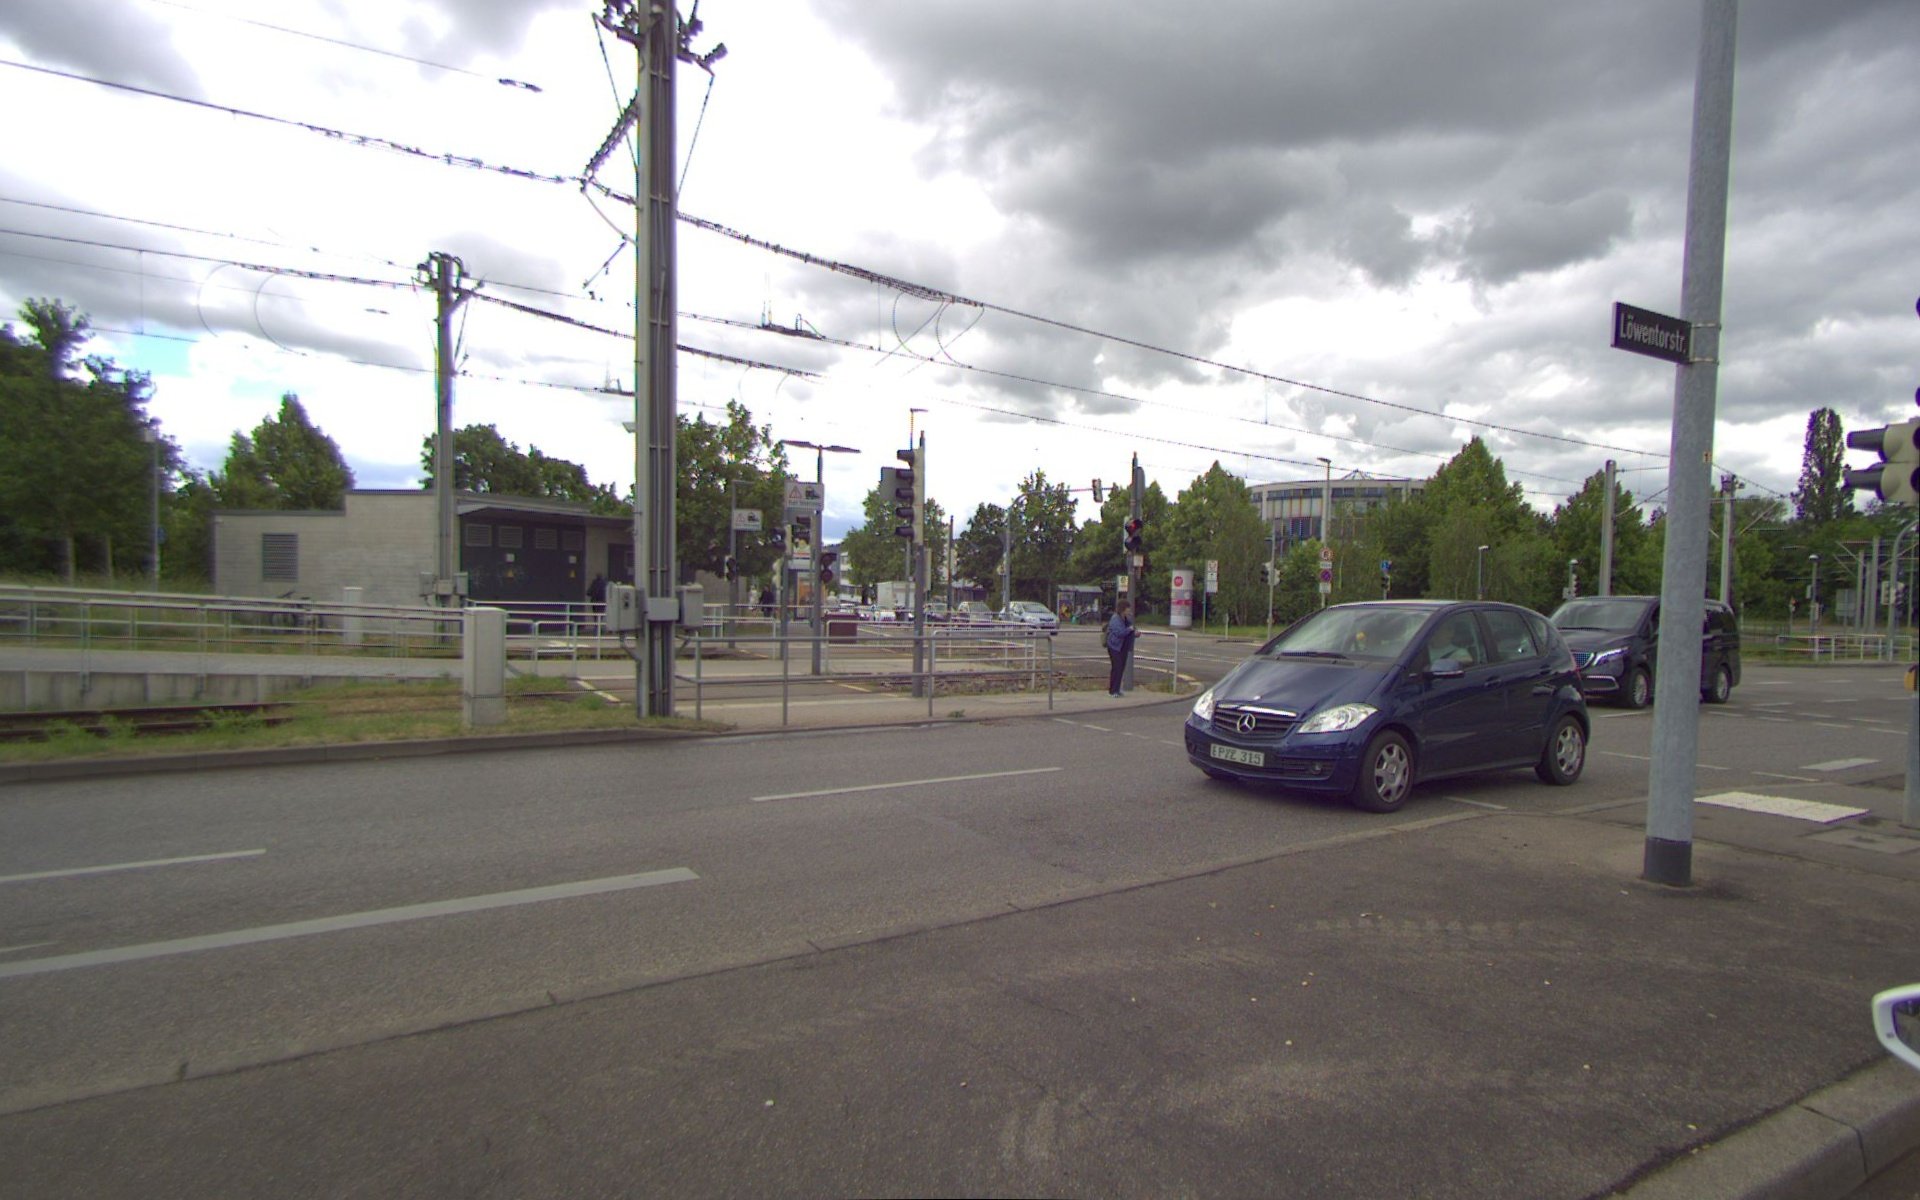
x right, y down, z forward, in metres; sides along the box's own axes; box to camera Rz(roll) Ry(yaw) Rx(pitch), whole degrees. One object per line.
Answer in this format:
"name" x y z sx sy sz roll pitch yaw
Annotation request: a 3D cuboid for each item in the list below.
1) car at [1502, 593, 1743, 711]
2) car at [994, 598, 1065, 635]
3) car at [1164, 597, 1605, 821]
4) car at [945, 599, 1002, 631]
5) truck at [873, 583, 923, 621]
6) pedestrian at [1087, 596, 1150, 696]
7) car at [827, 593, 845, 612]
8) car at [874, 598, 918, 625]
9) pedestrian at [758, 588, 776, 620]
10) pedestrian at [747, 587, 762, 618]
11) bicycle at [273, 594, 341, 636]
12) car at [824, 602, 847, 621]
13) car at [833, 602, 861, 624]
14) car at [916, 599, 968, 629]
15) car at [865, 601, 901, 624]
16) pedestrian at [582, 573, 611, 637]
"car" 11.883 0.858 17.886 5.041 1.836 1.875 1 -1 -35
"car" 3.195 0.732 46.895 1.848 1.617 3.982 2 0 -20
"car" 3.700 0.772 8.633 3.619 1.529 1.726 1 0 -32
"car" 0.664 0.792 53.861 1.776 1.617 3.982 2 0 -20
"truck" -6.240 0.149 99.551 2.967 3.580 9.252 1 0 -16
"pedestrian" 2.537 0.728 16.089 0.712 1.557 0.630 2 0 -33
"car" -14.623 0.291 118.103 1.964 2.218 5.800 1 0 -9
"car" -4.153 0.696 64.571 1.776 1.617 3.982 2 0 -20
"pedestrian" -8.328 0.178 43.343 0.590 1.377 0.616 2 0 0
"pedestrian" -10.460 0.139 51.147 0.633 1.557 0.521 2 0 -2
"bicycle" -17.366 0.389 26.701 1.778 1.045 0.536 2 0 21
"car" -12.171 1.115 97.878 1.869 1.805 3.990 1 0 -13
"car" -9.847 1.131 87.155 1.869 1.805 3.988 1 0 -14
"car" -1.067 0.760 58.034 1.776 1.617 3.982 2 0 -20
"car" -5.769 0.925 74.894 1.775 1.617 3.985 2 0 -17
"pedestrian" -10.109 0.144 27.938 0.700 1.751 0.674 2 0 -19
